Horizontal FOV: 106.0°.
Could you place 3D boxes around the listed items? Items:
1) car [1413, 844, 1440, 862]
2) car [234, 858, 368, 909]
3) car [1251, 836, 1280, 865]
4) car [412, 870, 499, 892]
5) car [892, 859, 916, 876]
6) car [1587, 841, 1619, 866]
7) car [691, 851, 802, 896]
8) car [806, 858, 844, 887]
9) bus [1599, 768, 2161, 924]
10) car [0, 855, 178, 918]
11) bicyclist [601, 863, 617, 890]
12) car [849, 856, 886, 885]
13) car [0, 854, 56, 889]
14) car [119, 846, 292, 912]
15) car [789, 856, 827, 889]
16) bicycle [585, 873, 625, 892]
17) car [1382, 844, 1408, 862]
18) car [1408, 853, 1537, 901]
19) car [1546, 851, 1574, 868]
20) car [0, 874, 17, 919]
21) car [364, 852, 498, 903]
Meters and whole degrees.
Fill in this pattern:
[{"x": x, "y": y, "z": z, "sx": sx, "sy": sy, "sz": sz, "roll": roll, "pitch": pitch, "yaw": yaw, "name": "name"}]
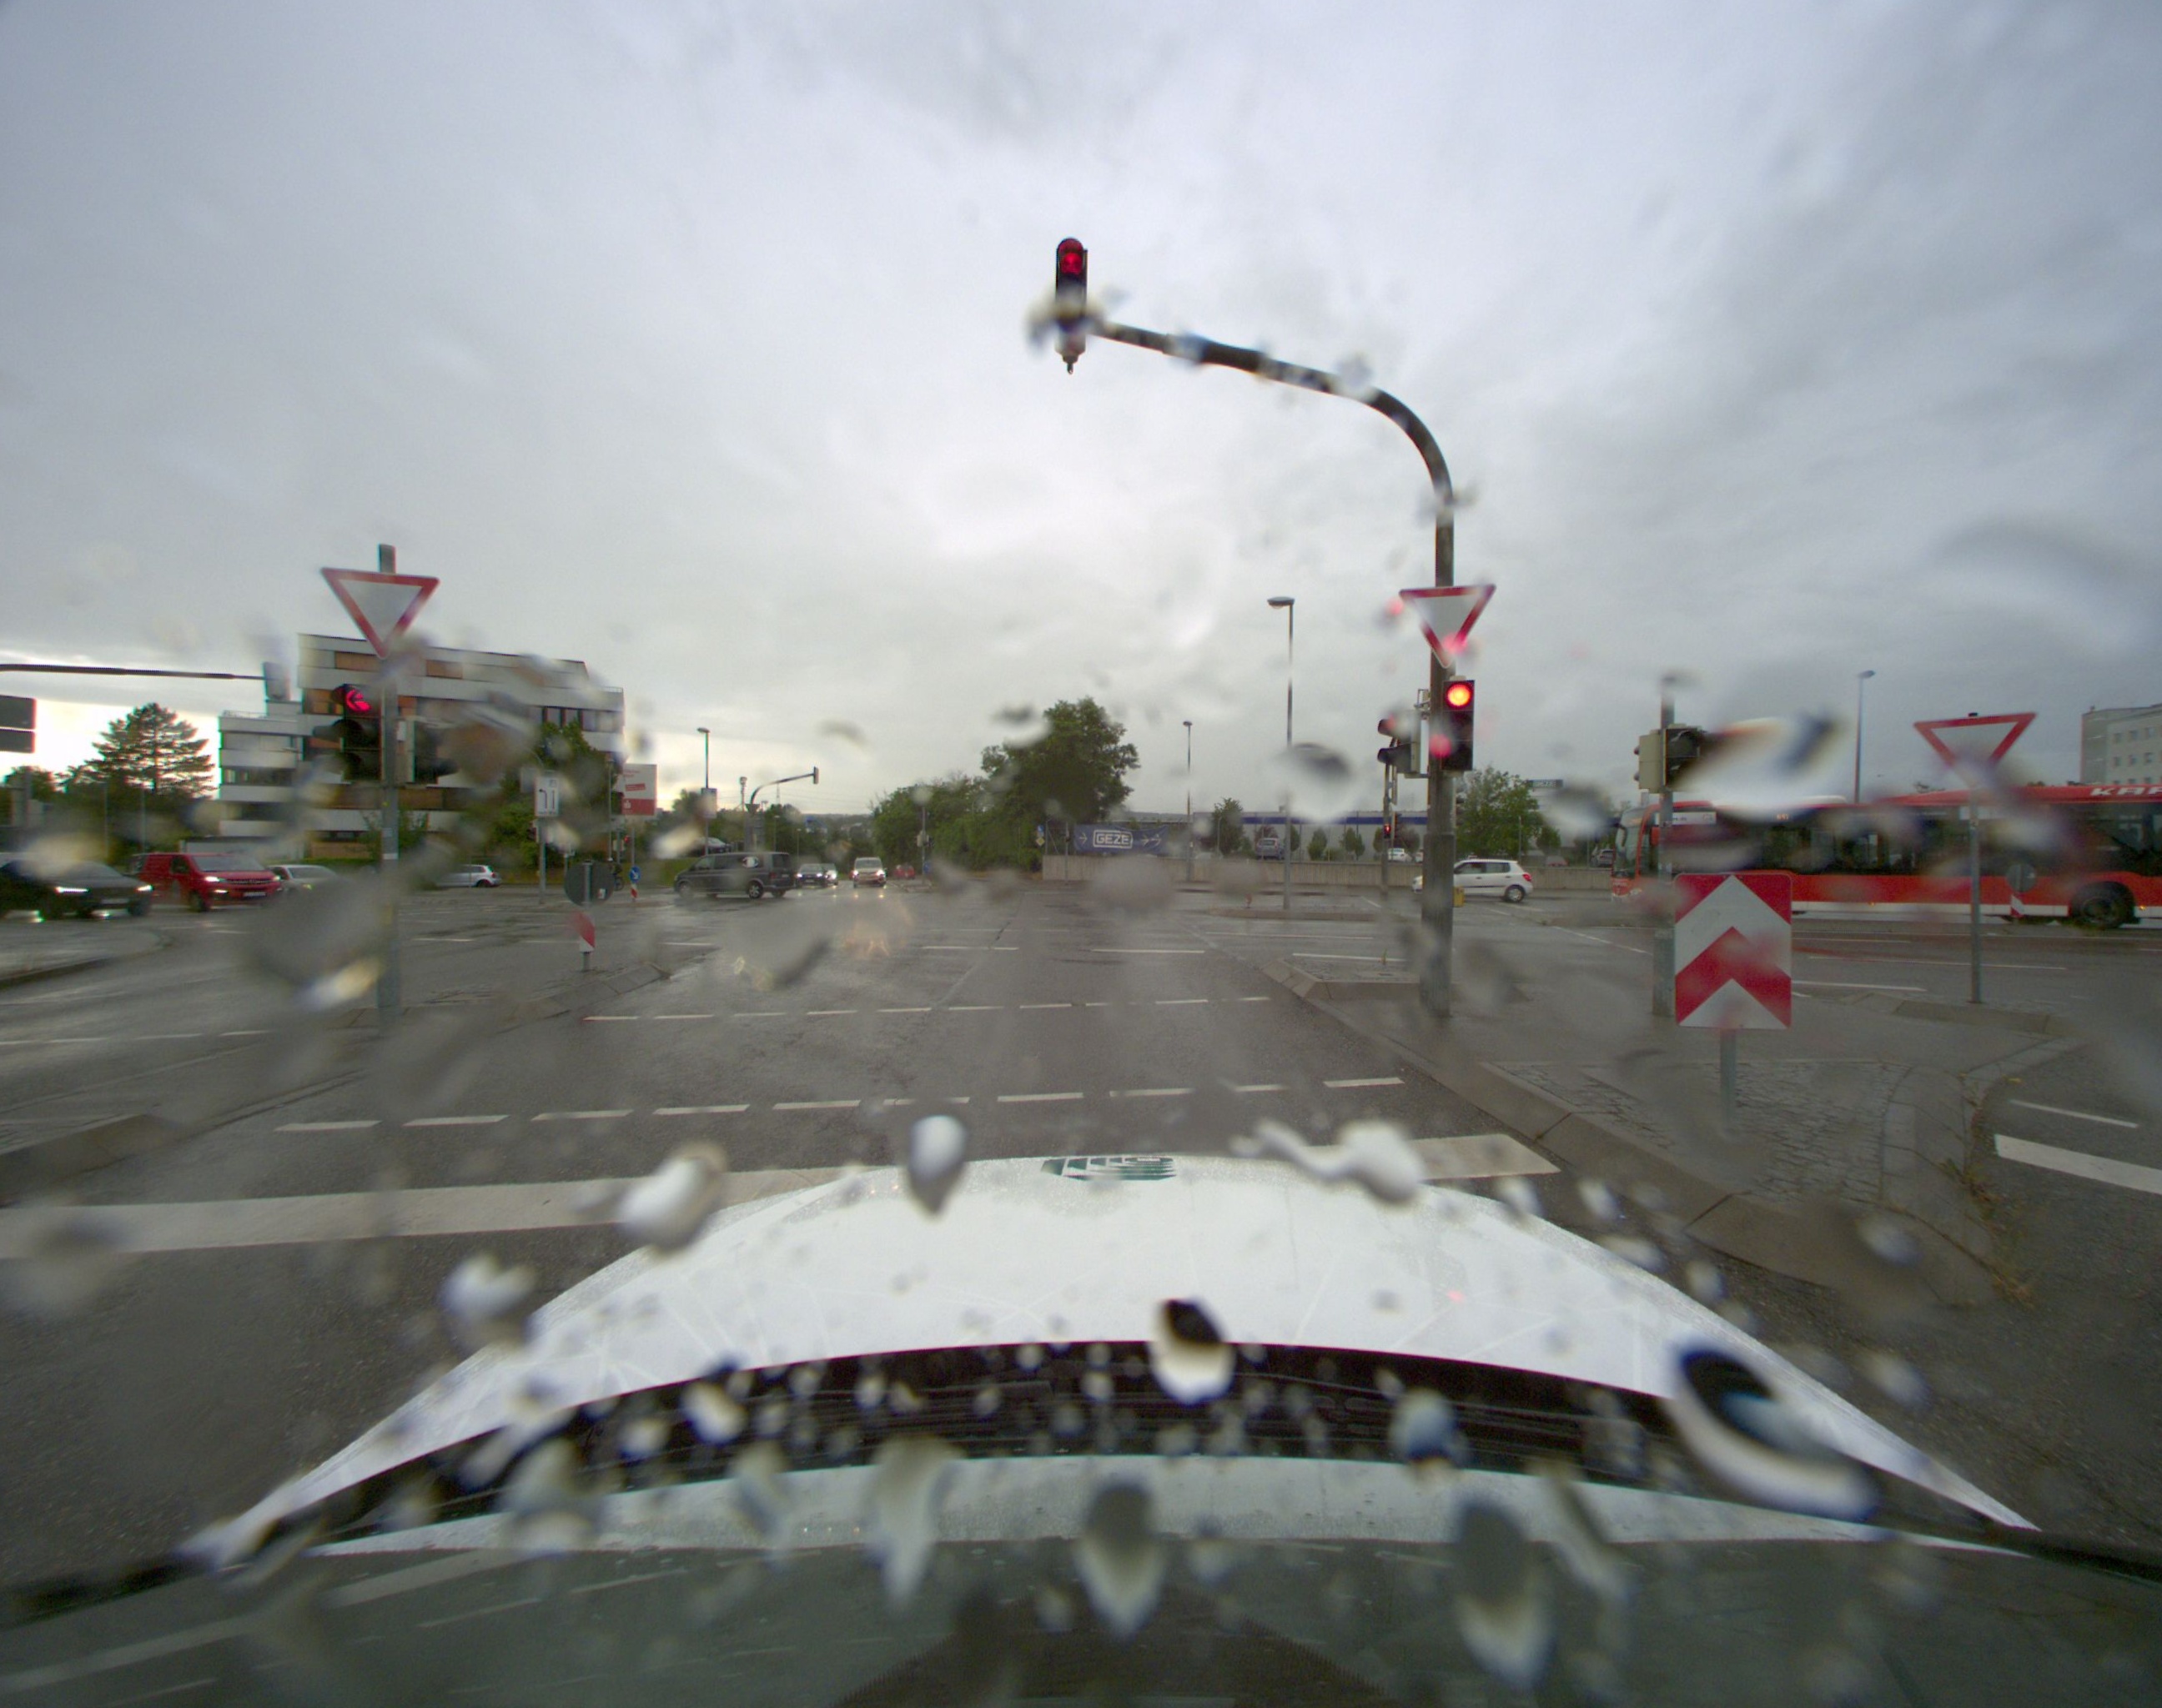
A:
[{"x": 28.942, "y": -0.073, "z": 68.300, "sx": 1.976, "sy": 1.478, "sz": 4.021, "roll": 0, "pitch": 0, "yaw": 22, "name": "car"}, {"x": -28.288, "y": 1.029, "z": 29.550, "sx": 3.953, "sy": 1.684, "sz": 2.010, "roll": 0, "pitch": 0, "yaw": 21, "name": "car"}, {"x": 13.320, "y": -0.232, "z": 58.727, "sx": 1.979, "sy": 2.013, "sz": 4.015, "roll": 0, "pitch": 0, "yaw": 14, "name": "car"}, {"x": -34.782, "y": 1.469, "z": 45.403, "sx": 3.522, "sy": 1.105, "sz": 1.805, "roll": 0, "pitch": 0, "yaw": -25, "name": "car"}, {"x": -16.856, "y": 1.287, "z": 77.384, "sx": 1.621, "sy": 1.448, "sz": 3.781, "roll": 1, "pitch": 1, "yaw": -21, "name": "car"}, {"x": 37.809, "y": -0.035, "z": 58.916, "sx": 1.699, "sy": 1.715, "sz": 3.671, "roll": 0, "pitch": 0, "yaw": 37, "name": "car"}, {"x": -14.441, "y": 0.820, "z": 35.266, "sx": 3.962, "sy": 1.848, "sz": 2.006, "roll": 0, "pitch": 0, "yaw": 10, "name": "car"}, {"x": -17.959, "y": 1.267, "z": 57.354, "sx": 1.993, "sy": 1.895, "sz": 3.988, "roll": 0, "pitch": 0, "yaw": -9, "name": "car"}, {"x": 20.204, "y": -0.250, "z": 20.028, "sx": 12.174, "sy": 3.321, "sz": 3.090, "roll": 1, "pitch": 1, "yaw": 20, "name": "bus"}, {"x": -28.736, "y": 0.911, "z": 23.401, "sx": 4.579, "sy": 1.679, "sz": 2.044, "roll": -1, "pitch": 0, "yaw": 18, "name": "car"}, {"x": -25.958, "y": 1.236, "z": 44.785, "sx": 0.542, "sy": 1.446, "sz": 0.602, "roll": 0, "pitch": 0, "yaw": -5, "name": "bicyclist"}, {"x": -12.875, "y": 0.939, "z": 49.254, "sx": 1.995, "sy": 1.618, "sz": 3.983, "roll": 0, "pitch": 0, "yaw": -13, "name": "car"}, {"x": -65.215, "y": 1.022, "z": 49.714, "sx": 4.952, "sy": 2.013, "sz": 2.011, "roll": 0, "pitch": 0, "yaw": 23, "name": "car"}, {"x": -28.536, "y": 0.778, "z": 26.554, "sx": 4.733, "sy": 2.013, "sz": 2.009, "roll": 0, "pitch": 0, "yaw": 18, "name": "car"}, {"x": -16.738, "y": 1.093, "z": 50.015, "sx": 1.998, "sy": 1.895, "sz": 3.978, "roll": 0, "pitch": 0, "yaw": -16, "name": "car"}, {"x": -26.151, "y": 1.565, "z": 44.767, "sx": 1.771, "sy": 1.052, "sz": 0.609, "roll": 0, "pitch": 0, "yaw": -5, "name": "bicycle"}, {"x": 26.638, "y": -0.083, "z": 68.987, "sx": 1.976, "sy": 1.478, "sz": 4.022, "roll": 0, "pitch": 0, "yaw": 22, "name": "car"}, {"x": 13.944, "y": 0.786, "z": 29.278, "sx": 3.956, "sy": 1.596, "sz": 1.966, "roll": 0, "pitch": 0, "yaw": 17, "name": "car"}, {"x": 43.031, "y": 0.433, "z": 73.089, "sx": 1.749, "sy": 1.479, "sz": 3.671, "roll": 0, "pitch": 0, "yaw": 37, "name": "car"}, {"x": -34.912, "y": 1.310, "z": 25.017, "sx": 3.421, "sy": 1.387, "sz": 1.689, "roll": 0, "pitch": 0, "yaw": 19, "name": "car"}, {"x": -24.742, "y": 0.849, "z": 31.050, "sx": 4.108, "sy": 1.840, "sz": 2.009, "roll": 0, "pitch": 0, "yaw": 17, "name": "car"}]
